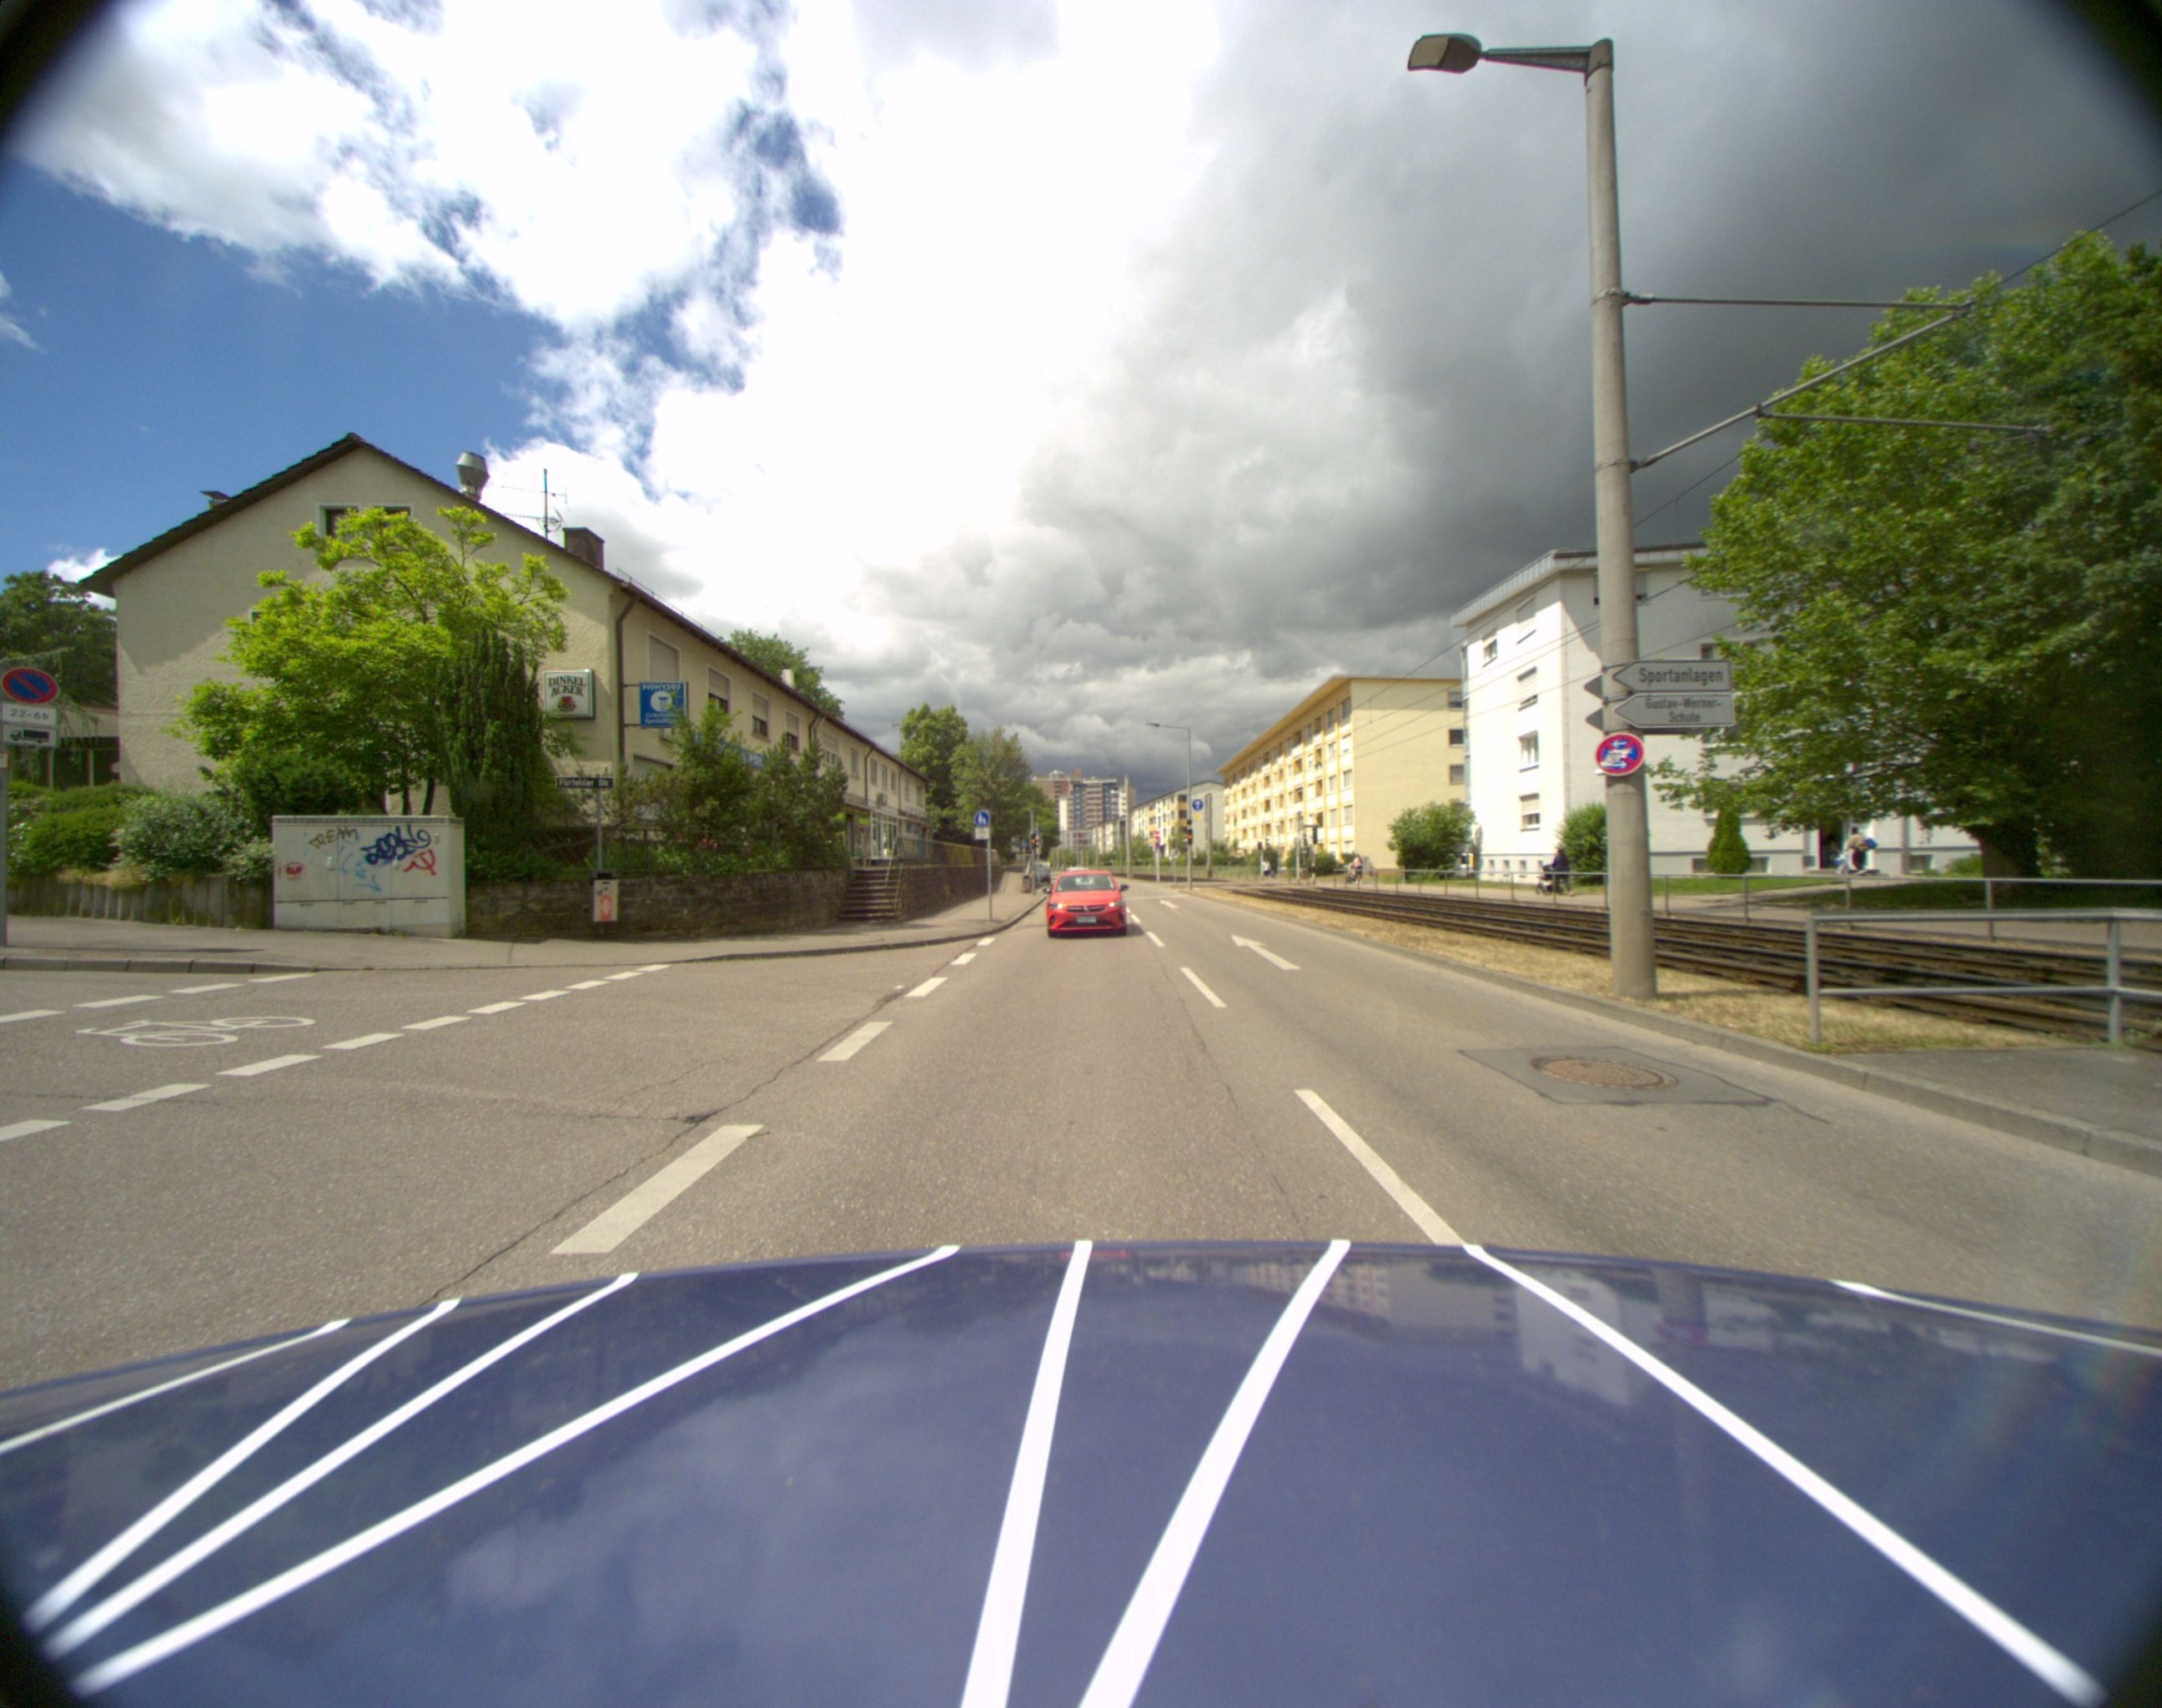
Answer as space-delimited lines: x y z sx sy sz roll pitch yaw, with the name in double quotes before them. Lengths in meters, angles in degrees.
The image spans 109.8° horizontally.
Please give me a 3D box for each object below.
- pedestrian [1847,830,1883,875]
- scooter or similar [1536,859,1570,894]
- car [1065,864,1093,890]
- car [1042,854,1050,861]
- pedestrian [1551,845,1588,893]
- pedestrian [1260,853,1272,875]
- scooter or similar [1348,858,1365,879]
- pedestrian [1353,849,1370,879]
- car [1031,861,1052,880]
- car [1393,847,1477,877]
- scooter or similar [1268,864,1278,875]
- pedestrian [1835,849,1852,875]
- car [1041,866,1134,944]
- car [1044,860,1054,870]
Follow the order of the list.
"pedestrian" 27.735 -0.051 26.872 0.685 1.534 0.514 -3 5 6
"scooter or similar" 15.953 0.752 25.714 0.606 1.108 0.821 -2 0 -2
"car" -0.147 1.393 46.439 1.499 1.477 3.519 -1 0 -4
"car" -10.405 0.940 222.728 2.237 2.050 4.360 -1 0 -4
"pedestrian" 15.968 0.486 24.853 0.614 1.531 0.874 -2 0 -1
"pedestrian" 13.993 0.766 57.418 0.605 1.598 0.773 -3 0 -1
"scooter or similar" 15.580 0.820 42.968 0.609 1.156 0.892 -2 0 0
"pedestrian" 15.576 0.551 42.179 0.647 1.683 0.679 -2 0 0
"car" -3.439 1.424 65.901 1.760 1.570 4.021 -1 0 -4
"car" 21.651 0.484 46.550 4.286 1.719 1.811 -1 0 6
"scooter or similar" 14.440 1.160 57.284 0.534 0.769 0.666 -3 0 -1
"pedestrian" 27.243 0.280 27.143 0.330 0.878 0.256 -3 4 11
"car" 0.027 1.066 17.477 1.784 1.433 4.130 -3 0 -4
"car" -7.659 2.673 183.744 2.237 2.460 5.085 -1 0 -4
